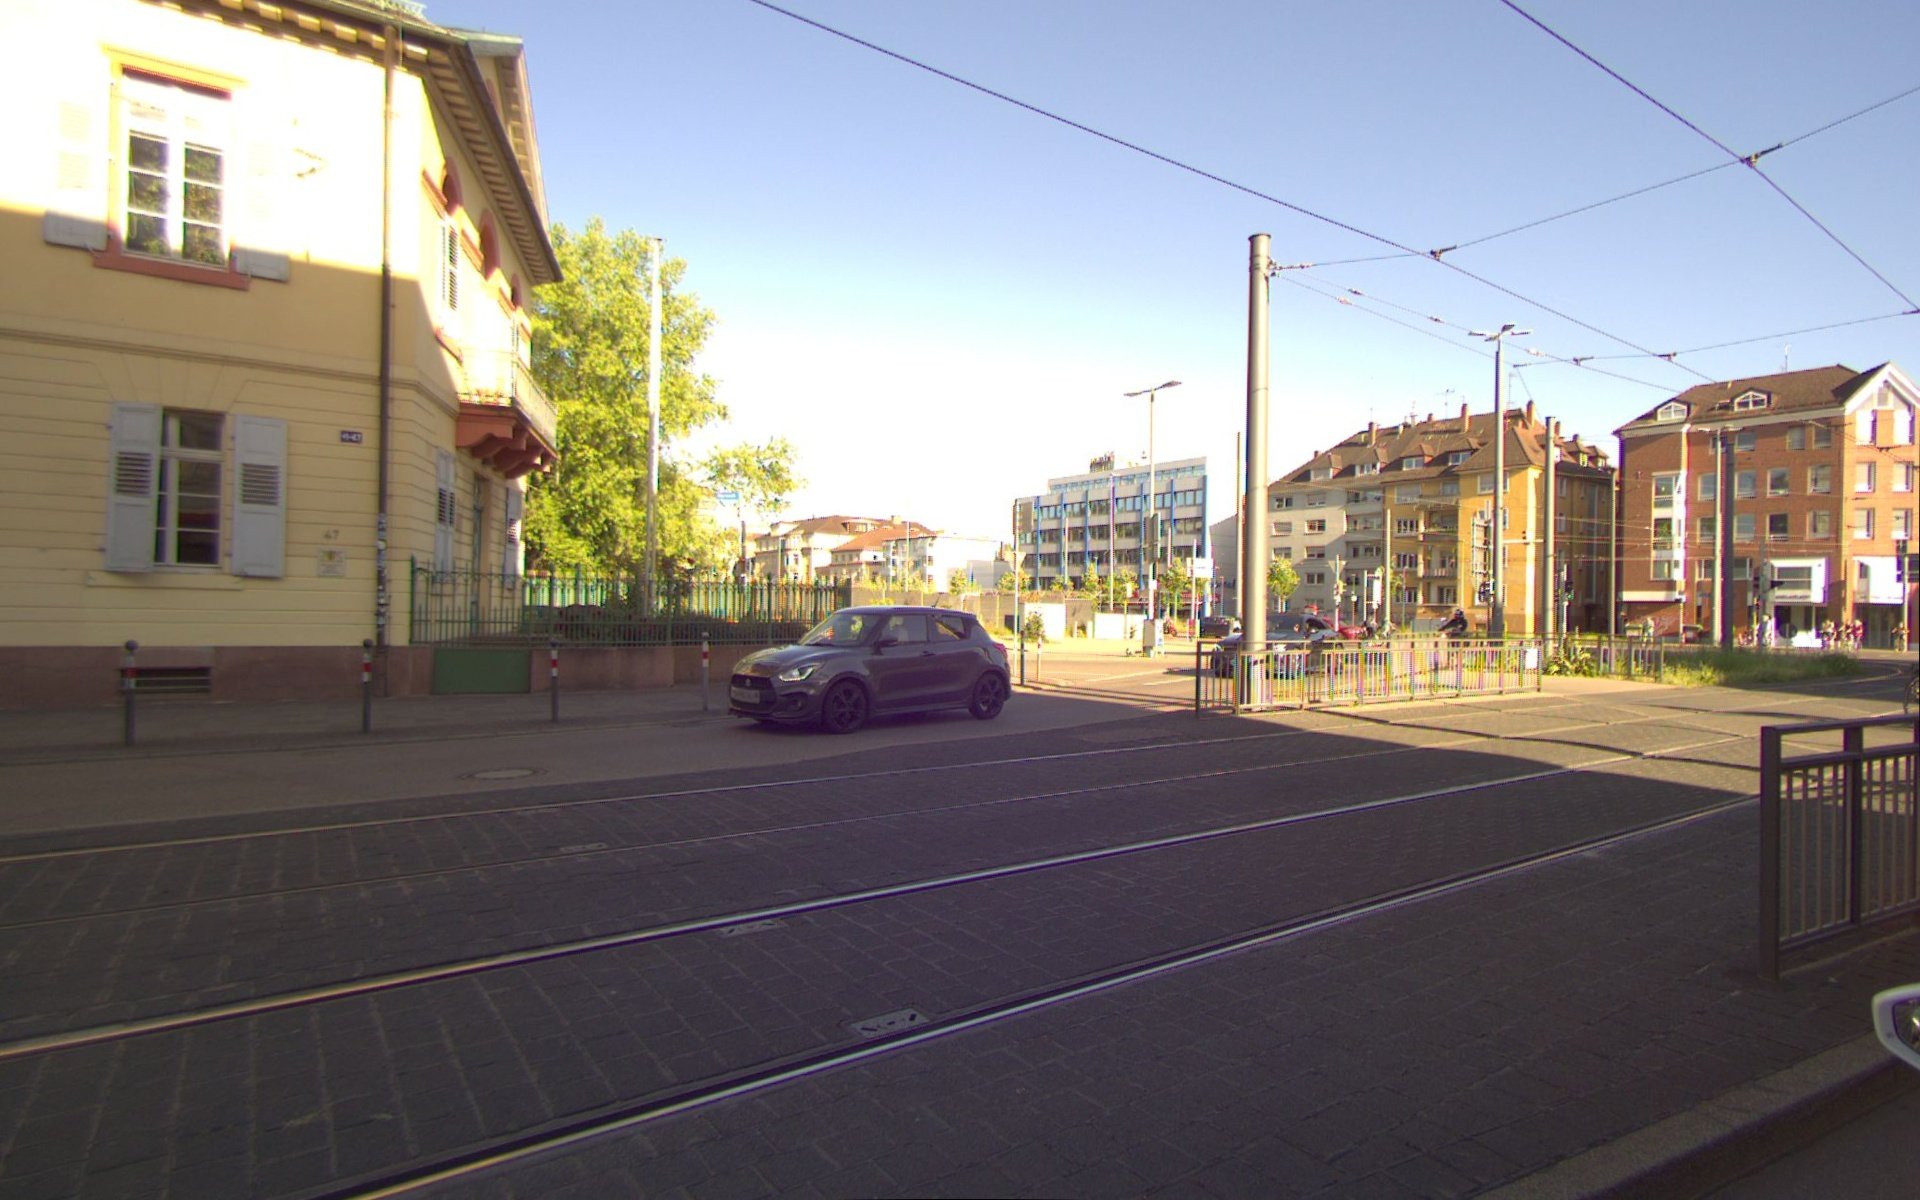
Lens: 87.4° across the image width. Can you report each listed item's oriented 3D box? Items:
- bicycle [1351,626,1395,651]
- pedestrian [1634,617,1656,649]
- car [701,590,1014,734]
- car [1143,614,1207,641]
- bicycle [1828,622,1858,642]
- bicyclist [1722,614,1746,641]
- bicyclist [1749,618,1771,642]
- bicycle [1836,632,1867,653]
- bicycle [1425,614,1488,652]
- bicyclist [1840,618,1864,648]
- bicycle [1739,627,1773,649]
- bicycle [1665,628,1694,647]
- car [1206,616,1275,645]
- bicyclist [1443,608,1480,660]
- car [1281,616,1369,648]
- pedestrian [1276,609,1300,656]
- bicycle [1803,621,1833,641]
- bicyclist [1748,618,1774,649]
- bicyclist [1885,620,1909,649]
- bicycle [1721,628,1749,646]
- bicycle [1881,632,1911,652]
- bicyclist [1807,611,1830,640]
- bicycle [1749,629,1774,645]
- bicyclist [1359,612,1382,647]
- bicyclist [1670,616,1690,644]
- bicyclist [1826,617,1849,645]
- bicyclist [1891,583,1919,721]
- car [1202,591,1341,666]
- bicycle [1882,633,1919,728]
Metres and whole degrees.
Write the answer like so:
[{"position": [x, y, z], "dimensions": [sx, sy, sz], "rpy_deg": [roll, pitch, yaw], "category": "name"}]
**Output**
[{"position": [22.417, 2.064, 54.545], "dimensions": [0.542, 1.230, 2.168], "rpy_deg": [2, 0, -41], "category": "bicycle"}, {"position": [39.986, 1.902, 58.617], "dimensions": [0.737, 1.845, 0.781], "rpy_deg": [2, 0, -28], "category": "pedestrian"}, {"position": [-1.192, 0.721, 12.892], "dimensions": [1.623, 1.546, 3.842], "rpy_deg": [2, 0, 44], "category": "car"}, {"position": [14.687, 1.863, 68.624], "dimensions": [1.895, 1.708, 3.916], "rpy_deg": [2, 0, -41], "category": "car"}, {"position": [50.806, 1.865, 57.786], "dimensions": [2.255, 1.103, 0.527], "rpy_deg": [2, 0, -27], "category": "bicycle"}, {"position": [45.447, 1.614, 58.945], "dimensions": [0.688, 1.523, 0.894], "rpy_deg": [2, 0, -30], "category": "bicyclist"}, {"position": [50.321, 1.894, 63.150], "dimensions": [0.958, 1.490, 0.702], "rpy_deg": [1, 0, -22], "category": "bicyclist"}, {"position": [48.060, 2.285, 54.172], "dimensions": [2.197, 1.103, 0.527], "rpy_deg": [1, 0, -28], "category": "bicycle"}, {"position": [15.013, 0.993, 30.368], "dimensions": [2.172, 1.108, 0.457], "rpy_deg": [2, 0, -26], "category": "bicycle"}, {"position": [48.049, 1.796, 54.111], "dimensions": [0.737, 1.584, 0.781], "rpy_deg": [1, 0, -28], "category": "bicyclist"}, {"position": [41.509, 1.972, 52.381], "dimensions": [2.197, 1.103, 0.535], "rpy_deg": [2, 0, -28], "category": "bicycle"}, {"position": [39.665, 2.059, 55.359], "dimensions": [2.220, 0.984, 0.444], "rpy_deg": [2, 0, -31], "category": "bicycle"}, {"position": [17.997, 1.936, 64.575], "dimensions": [1.762, 1.694, 3.955], "rpy_deg": [2, 0, -39], "category": "car"}, {"position": [15.212, 1.016, 30.473], "dimensions": [0.581, 1.547, 0.783], "rpy_deg": [2, 0, -25], "category": "bicyclist"}, {"position": [21.768, 1.877, 60.004], "dimensions": [1.984, 1.723, 4.545], "rpy_deg": [2, 0, -41], "category": "car"}, {"position": [12.248, 1.207, 37.527], "dimensions": [0.759, 1.703, 0.592], "rpy_deg": [2, 0, 22], "category": "pedestrian"}, {"position": [48.084, 1.750, 56.278], "dimensions": [2.255, 1.103, 0.527], "rpy_deg": [1, 0, -28], "category": "bicycle"}, {"position": [41.898, 1.748, 52.543], "dimensions": [0.737, 1.584, 0.781], "rpy_deg": [2, 0, -28], "category": "bicyclist"}, {"position": [52.910, 1.926, 56.736], "dimensions": [0.737, 1.584, 0.781], "rpy_deg": [2, 0, -28], "category": "bicyclist"}, {"position": [45.551, 2.165, 59.021], "dimensions": [2.220, 0.984, 0.521], "rpy_deg": [2, 0, -31], "category": "bicycle"}, {"position": [52.839, 2.358, 56.705], "dimensions": [2.197, 1.103, 0.527], "rpy_deg": [2, 0, -28], "category": "bicycle"}, {"position": [48.129, 1.428, 56.298], "dimensions": [0.737, 1.584, 0.781], "rpy_deg": [1, 0, -28], "category": "bicyclist"}, {"position": [50.422, 2.337, 63.183], "dimensions": [1.669, 0.994, 0.403], "rpy_deg": [2, 0, -22], "category": "bicycle"}, {"position": [22.310, 1.598, 54.626], "dimensions": [0.785, 1.832, 0.892], "rpy_deg": [2, 0, -42], "category": "bicyclist"}, {"position": [39.664, 1.642, 55.356], "dimensions": [0.688, 1.523, 0.630], "rpy_deg": [2, 0, -30], "category": "bicyclist"}, {"position": [50.290, 1.769, 57.596], "dimensions": [0.737, 1.584, 0.781], "rpy_deg": [1, 0, -28], "category": "bicyclist"}, {"position": [12.848, 0.686, 13.088], "dimensions": [0.743, 1.783, 0.753], "rpy_deg": [2, 0, 16], "category": "bicyclist"}, {"position": [7.216, 0.637, 23.019], "dimensions": [1.689, 1.547, 4.019], "rpy_deg": [2, 0, 38], "category": "car"}, {"position": [12.803, 1.070, 12.998], "dimensions": [0.476, 1.238, 1.856], "rpy_deg": [2, 0, 16], "category": "bicycle"}]
